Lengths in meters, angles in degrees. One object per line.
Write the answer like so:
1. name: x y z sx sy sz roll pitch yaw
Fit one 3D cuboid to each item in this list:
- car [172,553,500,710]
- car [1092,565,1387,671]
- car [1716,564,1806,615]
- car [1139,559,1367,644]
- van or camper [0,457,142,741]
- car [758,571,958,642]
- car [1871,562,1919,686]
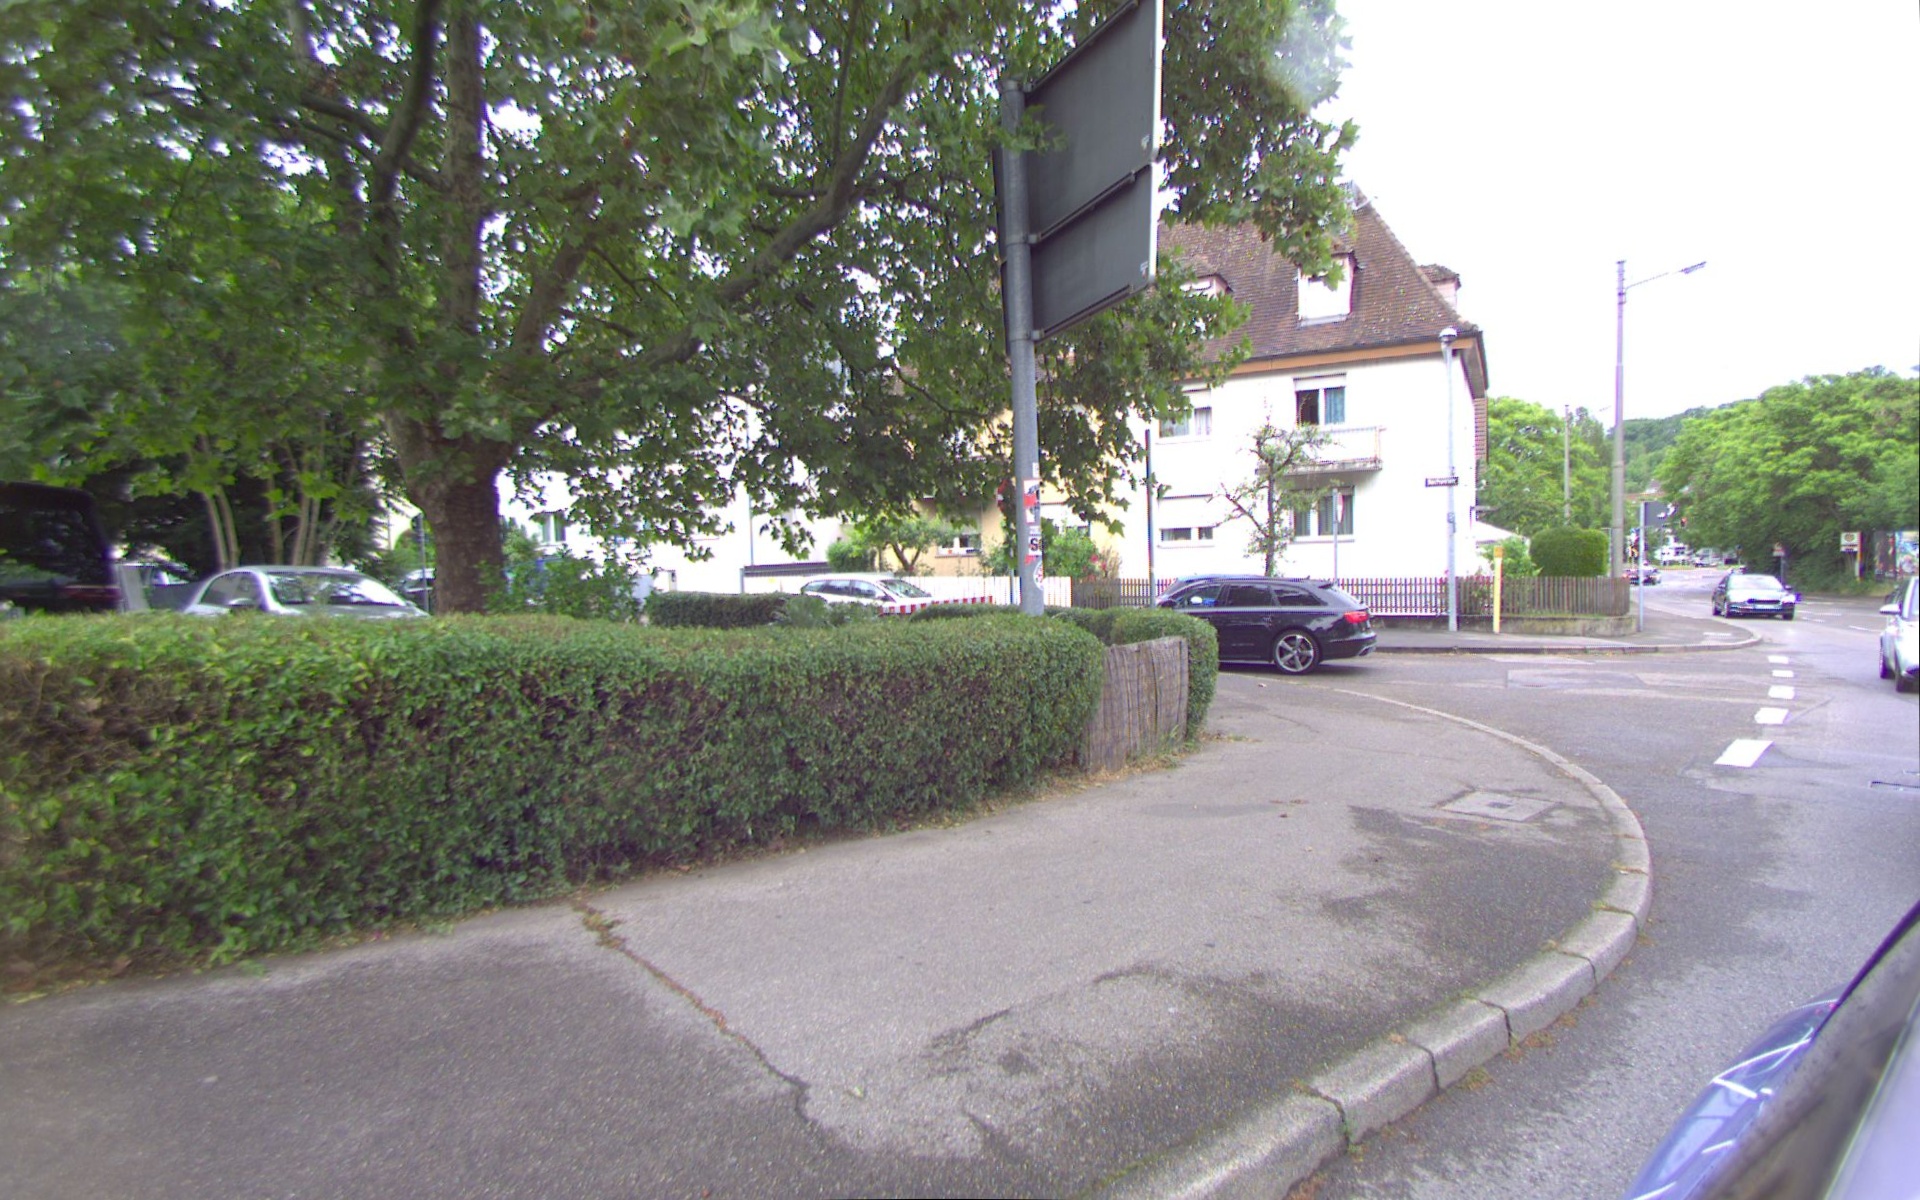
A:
1. car: -7.214 0.262 11.577 3.979 1.482 1.973 1 1 38
2. car: 4.534 0.227 16.470 4.350 1.532 1.982 0 1 27
3. car: 26.645 -0.375 33.777 1.693 1.577 3.960 0 1 29
4. car: 5.615 -0.040 19.400 3.960 1.482 1.845 1 2 26
5. van or camper: -8.462 -0.021 7.828 4.292 1.927 1.979 0 1 31
6. car: -2.404 0.104 23.616 4.356 1.532 1.979 1 1 30
7. car: 13.827 0.286 13.880 1.636 1.577 3.580 0 1 37
